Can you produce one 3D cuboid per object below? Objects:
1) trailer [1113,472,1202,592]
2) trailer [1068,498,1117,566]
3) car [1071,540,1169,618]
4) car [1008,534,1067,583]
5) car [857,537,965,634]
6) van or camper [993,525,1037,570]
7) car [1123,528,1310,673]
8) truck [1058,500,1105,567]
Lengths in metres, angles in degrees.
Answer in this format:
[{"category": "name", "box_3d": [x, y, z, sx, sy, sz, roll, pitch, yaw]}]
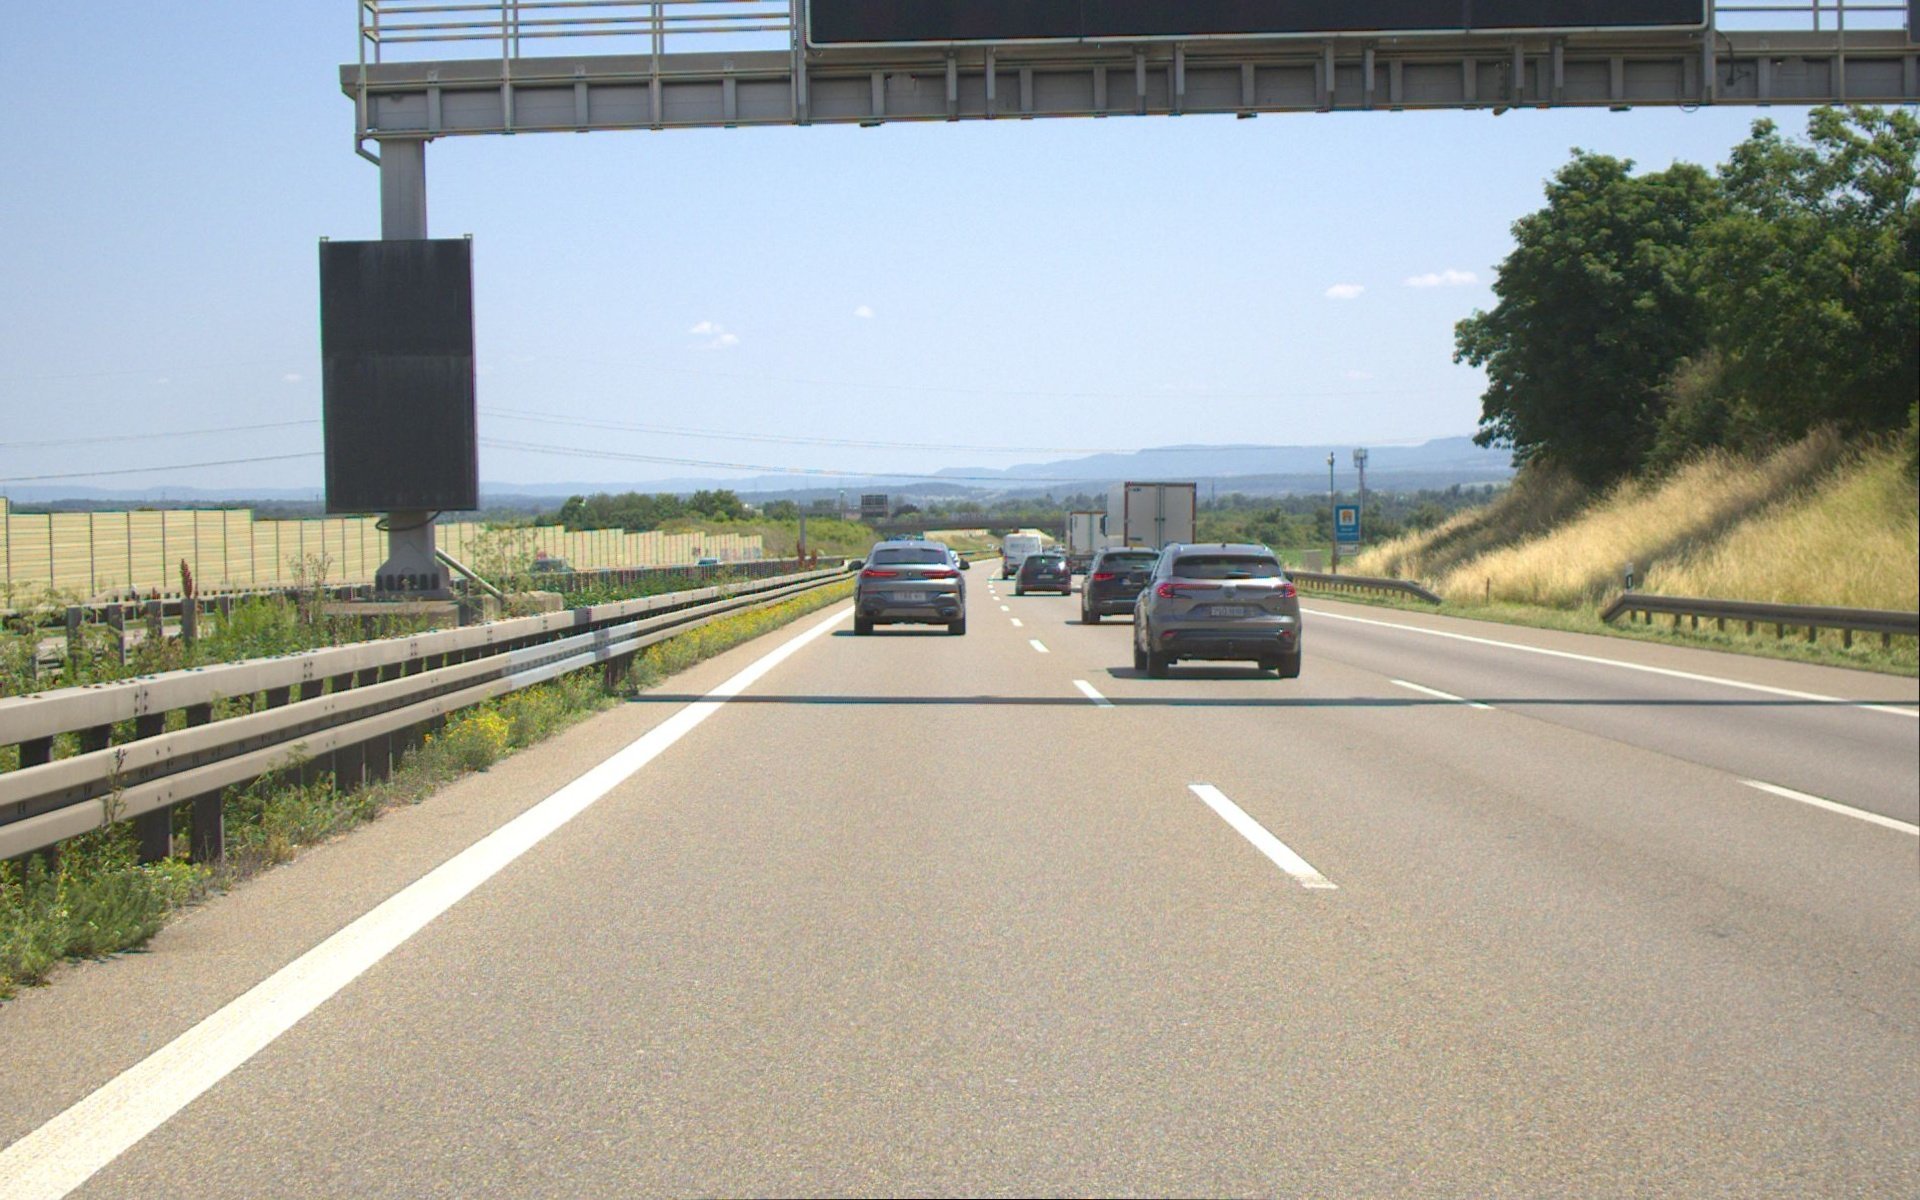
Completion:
[{"category": "trailer", "box_3d": [7.352, -2.479, 129.457, 2.868, 4.205, 13.294, 1, 0, 1]}, {"category": "trailer", "box_3d": [8.510, -4.293, 220.757, 2.943, 4.184, 13.595, 1, 0, 2]}, {"category": "car", "box_3d": [3.312, -0.436, 71.723, 1.796, 1.556, 3.824, 1, 0, -1]}, {"category": "car", "box_3d": [2.633, -1.393, 116.554, 1.933, 1.569, 4.934, 1, 0, 2]}, {"category": "car", "box_3d": [-0.882, -0.270, 61.925, 1.851, 1.658, 3.735, 1, 0, -1]}, {"category": "van or camper", "box_3d": [2.872, -2.690, 177.180, 2.111, 2.204, 5.265, 1, 0, 2]}, {"category": "car", "box_3d": [3.092, -0.012, 42.262, 1.851, 1.643, 4.645, 1, 0, -1]}, {"category": "truck", "box_3d": [8.028, -4.348, 226.439, 2.979, 4.213, 7.687, 1, 0, 2]}]
